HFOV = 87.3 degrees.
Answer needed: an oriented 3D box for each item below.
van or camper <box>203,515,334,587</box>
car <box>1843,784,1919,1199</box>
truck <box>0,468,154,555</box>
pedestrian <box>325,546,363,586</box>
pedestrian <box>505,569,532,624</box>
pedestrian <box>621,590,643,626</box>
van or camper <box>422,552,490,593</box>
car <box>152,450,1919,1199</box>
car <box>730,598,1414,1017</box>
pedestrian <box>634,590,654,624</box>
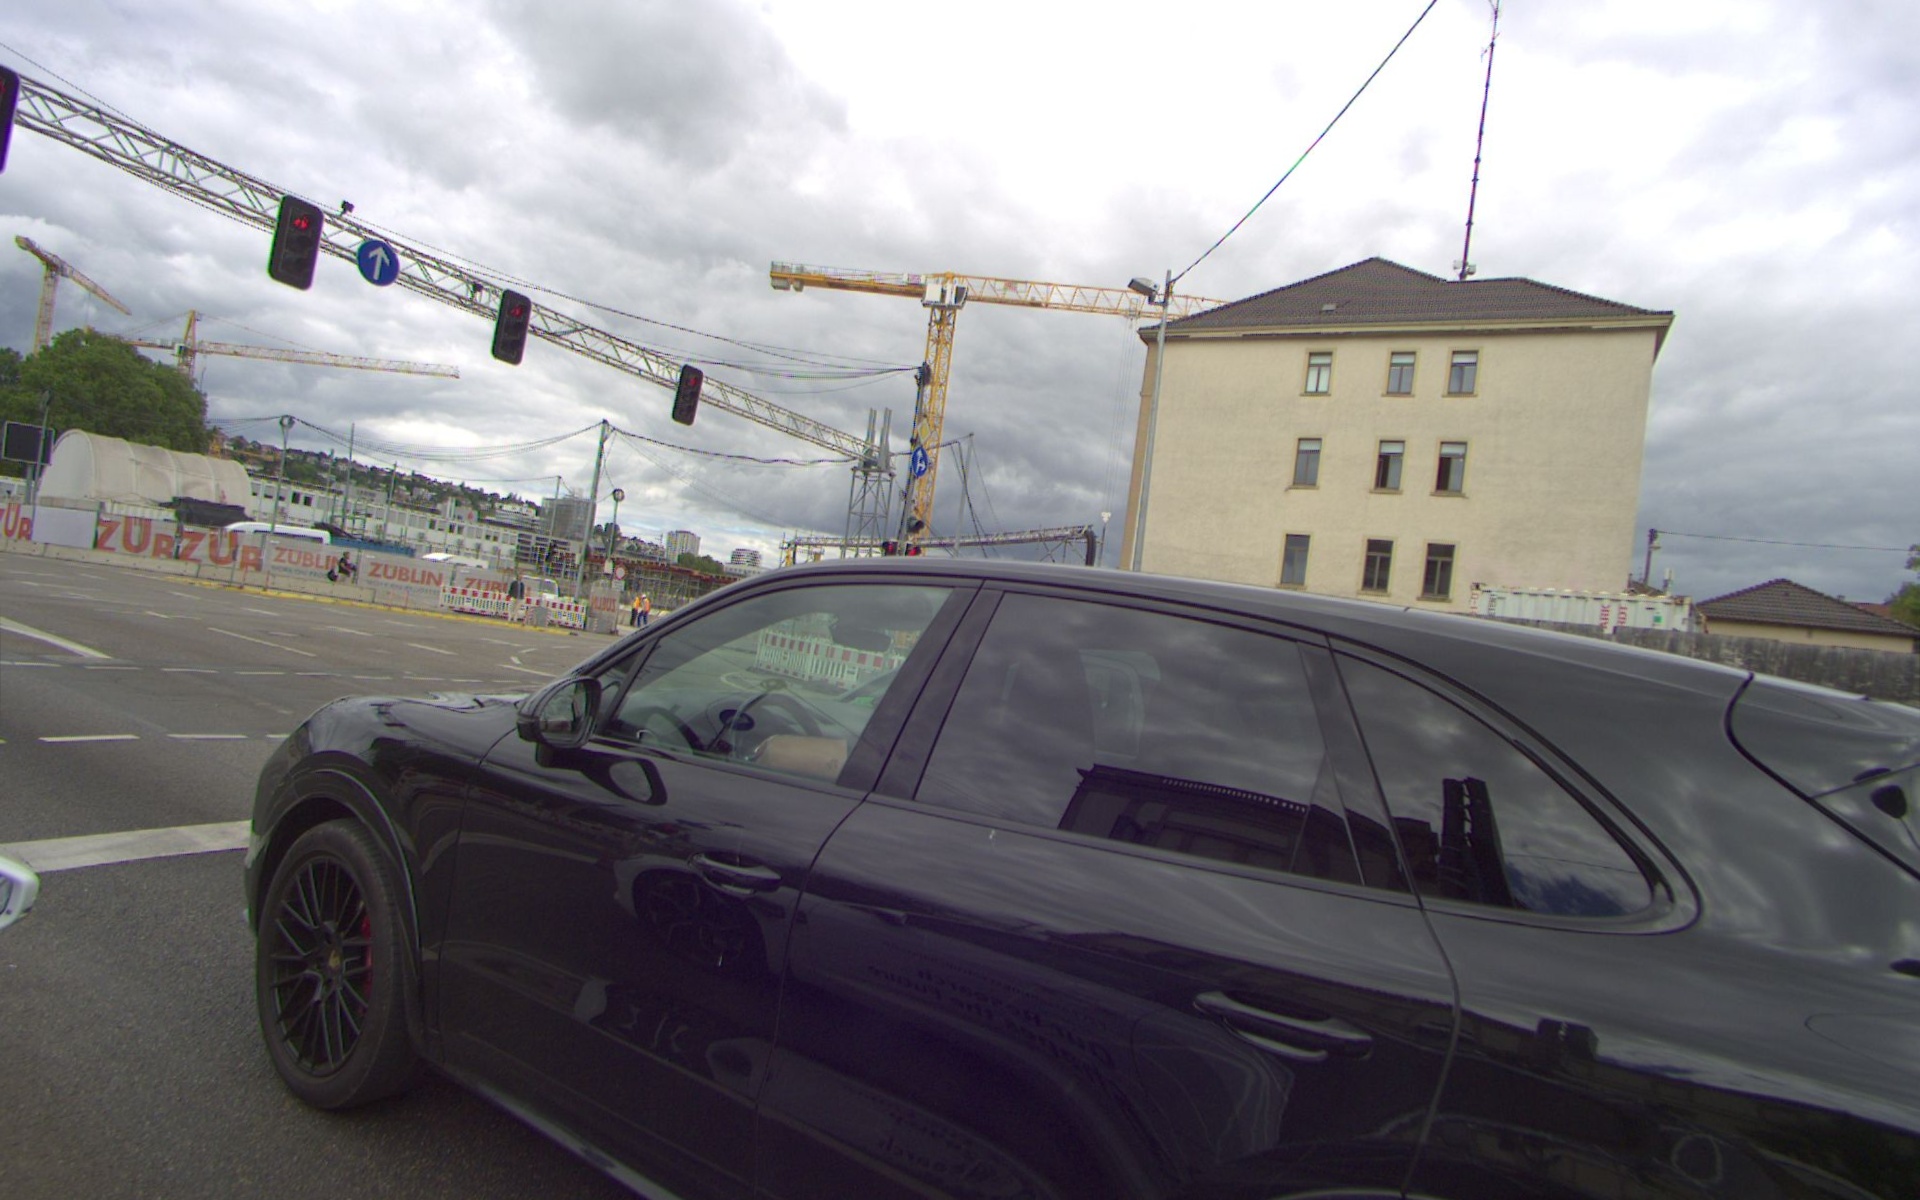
[{"bbox_3d":[-29.805,-2.071,43.408,4.204,2.384,1.976,10,-3,-44],"label":"van or camper"},{"bbox_3d":[5.624,1.755,2.669,4.579,1.589,1.825,6,-2,34],"label":"car"},{"bbox_3d":[-57.894,-5.790,61.927,3.875,4.086,13.089,8,-2,12],"label":"truck"},{"bbox_3d":[-23.965,-1.322,39.138,0.891,1.393,0.797,8,-1,-15],"label":"pedestrian"},{"bbox_3d":[-17.164,-0.127,39.099,0.647,2.037,0.513,8,-1,-33],"label":"pedestrian"},{"bbox_3d":[-17.726,0.443,54.403,0.607,1.816,0.654,7,-1,21],"label":"pedestrian"},{"bbox_3d":[-45.541,-2.470,91.041,1.963,2.945,5.304,7,-2,20],"label":"van or camper"},{"bbox_3d":[0.042,0.716,2.693,4.559,1.705,1.959,7,-2,33],"label":"car"},{"bbox_3d":[0.598,1.044,6.369,3.818,1.561,1.667,7,-2,33],"label":"car"},{"bbox_3d":[-16.984,0.398,54.009,0.508,1.737,0.654,7,-1,21],"label":"pedestrian"}]
